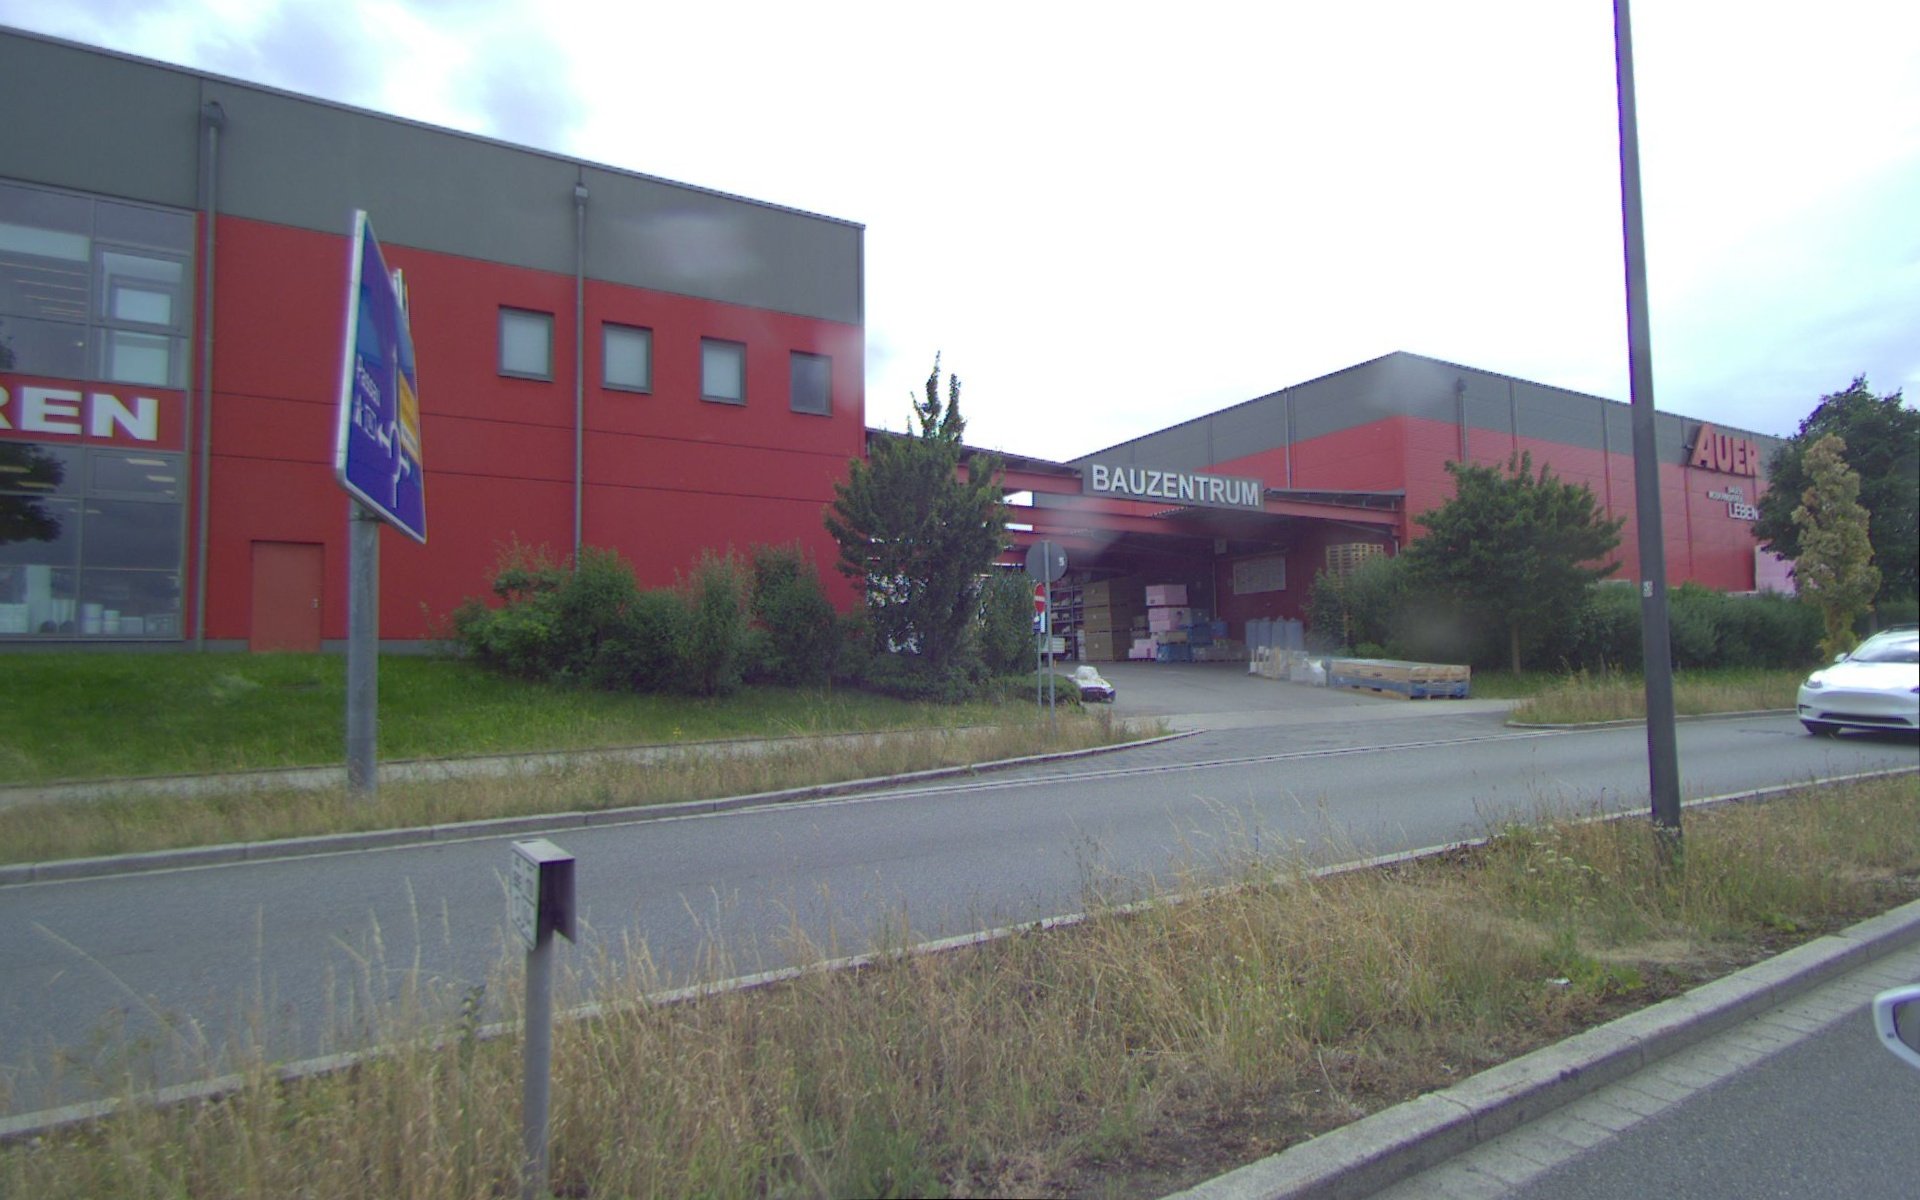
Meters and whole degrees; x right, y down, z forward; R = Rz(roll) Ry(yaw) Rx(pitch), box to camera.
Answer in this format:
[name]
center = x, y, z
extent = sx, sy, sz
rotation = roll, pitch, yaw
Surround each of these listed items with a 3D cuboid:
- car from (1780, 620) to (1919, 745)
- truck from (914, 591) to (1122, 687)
[car]
center = 14.653, 1.139, 15.008
extent = 4.573, 1.648, 1.904
rotation = 0, 0, -24
[truck]
center = 1.739, 1.103, 29.375
extent = 5.836, 2.521, 2.024
rotation = 1, 2, -29
